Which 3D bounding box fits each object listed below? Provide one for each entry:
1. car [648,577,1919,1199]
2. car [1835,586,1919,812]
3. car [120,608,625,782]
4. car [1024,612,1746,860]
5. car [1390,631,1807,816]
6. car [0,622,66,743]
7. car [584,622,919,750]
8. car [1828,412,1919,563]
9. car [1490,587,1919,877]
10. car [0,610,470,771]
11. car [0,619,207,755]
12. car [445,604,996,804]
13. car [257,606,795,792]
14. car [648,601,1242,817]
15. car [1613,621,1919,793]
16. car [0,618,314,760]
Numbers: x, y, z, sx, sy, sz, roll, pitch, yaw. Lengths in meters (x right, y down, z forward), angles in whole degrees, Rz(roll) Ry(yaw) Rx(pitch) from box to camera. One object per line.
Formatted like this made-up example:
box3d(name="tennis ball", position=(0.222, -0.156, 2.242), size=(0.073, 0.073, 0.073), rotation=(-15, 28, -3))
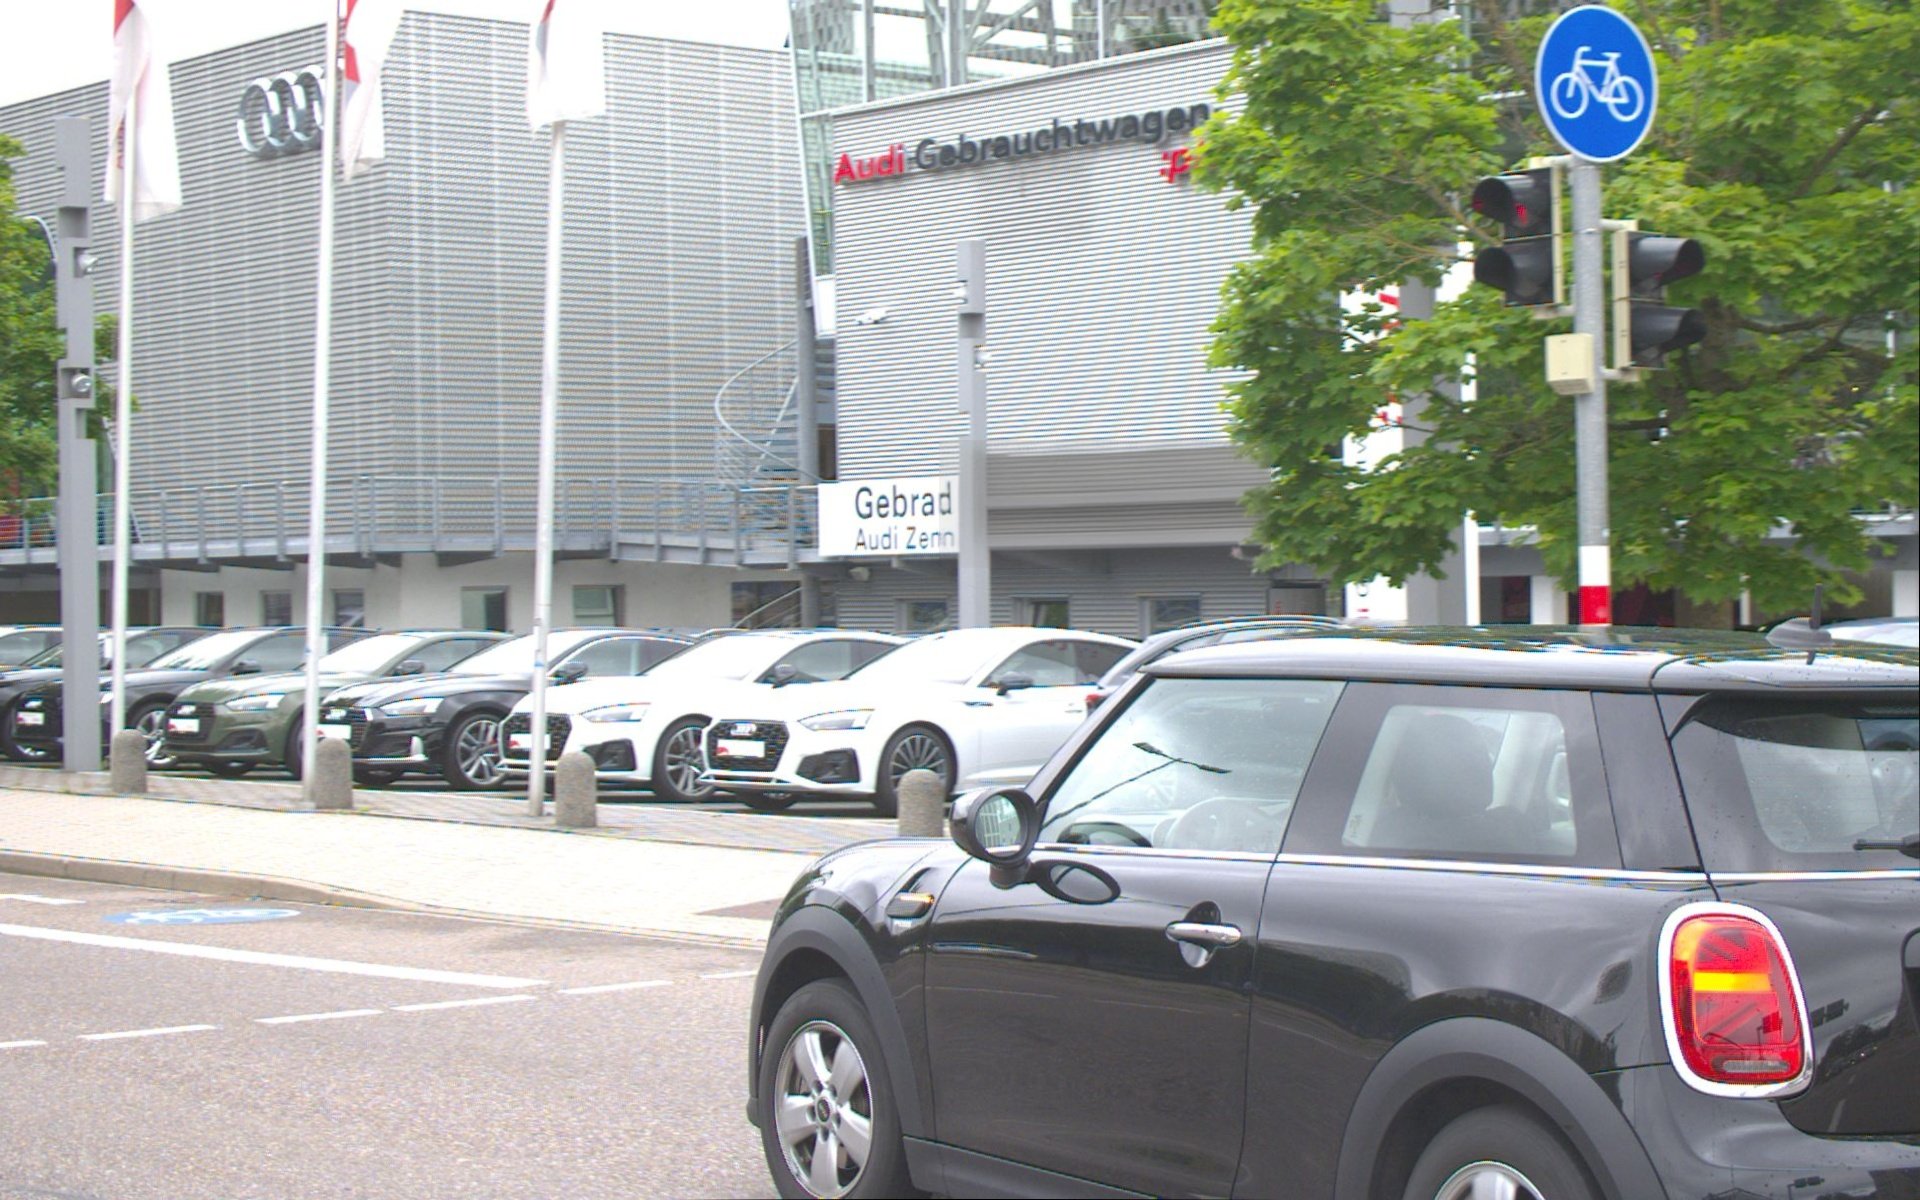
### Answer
box3d(name="car", position=(0.934, 0.736, 7.209), size=(1.786, 1.410, 3.644), rotation=(-3, 3, -30))
box3d(name="car", position=(10.010, 0.834, 29.017), size=(1.994, 1.933, 4.815), rotation=(-1, 0, -40))
box3d(name="car", position=(-5.375, 0.894, 31.734), size=(4.178, 1.481, 1.908), rotation=(3, -2, -41))
box3d(name="car", position=(2.720, 0.870, 23.000), size=(1.887, 1.481, 4.753), rotation=(3, -2, -40))
box3d(name="car", position=(6.493, 1.194, 34.732), size=(4.306, 1.690, 1.810), rotation=(0, 1, -41))
box3d(name="car", position=(-12.809, 0.924, 40.064), size=(4.205, 1.416, 1.855), rotation=(2, -1, -41))
box3d(name="car", position=(-2.702, 1.093, 45.084), size=(4.104, 1.539, 1.815), rotation=(0, 1, -41))
box3d(name="car", position=(11.839, -1.233, 39.204), size=(3.989, 1.656, 1.825), rotation=(0, 1, -42))
box3d(name="car", position=(5.307, 0.786, 19.847), size=(4.504, 1.481, 2.069), rotation=(3, -3, -42))
box3d(name="car", position=(-7.225, 0.909, 33.938), size=(4.367, 1.466, 1.894), rotation=(3, -2, -41))
box3d(name="car", position=(-10.879, 0.939, 37.989), size=(4.650, 1.467, 1.847), rotation=(2, -1, -41))
box3d(name="car", position=(-1.868, 0.852, 27.517), size=(4.032, 1.481, 1.876), rotation=(3, -2, -40))
box3d(name="car", position=(-3.684, 0.866, 29.604), size=(4.219, 1.481, 1.871), rotation=(3, -2, -40))
box3d(name="car", position=(-0.057, 0.827, 25.665), size=(4.186, 1.481, 1.852), rotation=(3, -2, -40))
box3d(name="car", position=(8.417, 1.047, 32.993), size=(4.250, 1.481, 1.928), rotation=(3, -1, -40))
box3d(name="car", position=(-9.094, 0.934, 35.973), size=(4.155, 1.386, 1.902), rotation=(3, -2, -41))
